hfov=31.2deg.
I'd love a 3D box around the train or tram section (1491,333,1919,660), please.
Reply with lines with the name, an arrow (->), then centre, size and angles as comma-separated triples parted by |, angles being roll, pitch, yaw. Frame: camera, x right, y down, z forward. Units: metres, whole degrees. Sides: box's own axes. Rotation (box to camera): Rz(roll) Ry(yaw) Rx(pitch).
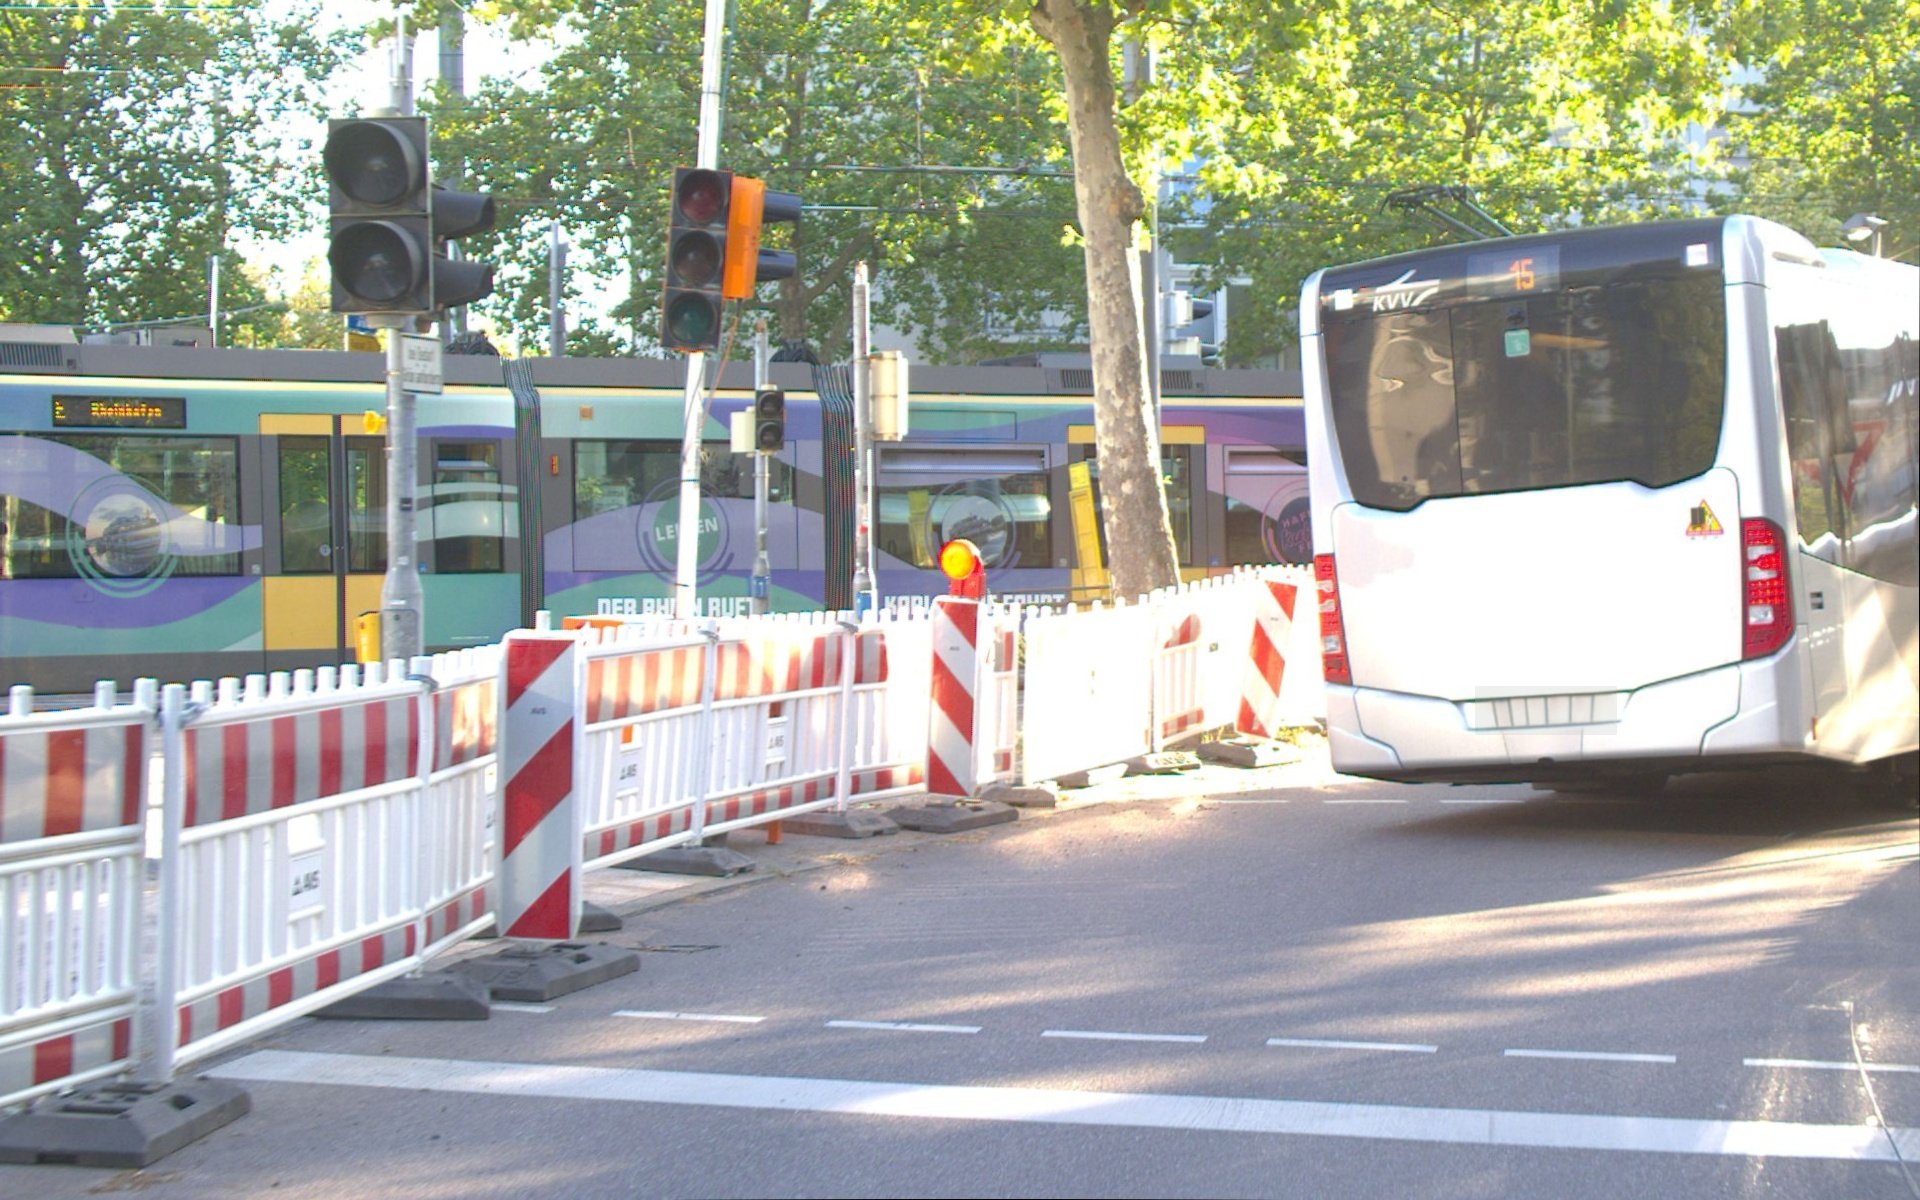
train or tram section -> 12.806, -1.178, 40.355 | 13.286, 3.507, 2.650 | -1, 1, -19

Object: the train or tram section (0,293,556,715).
train or tram section -> -9.835, -0.796, 29.052 | 13.357, 3.521, 2.858 | -1, 1, -40

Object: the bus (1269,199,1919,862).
bus -> 5.643, -0.482, 21.465 | 2.738, 3.128, 10.684 | 0, 2, 33

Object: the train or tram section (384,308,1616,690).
train or tram section -> 0.648, -1.002, 35.578 | 12.740, 3.537, 2.738 | -1, 1, -24
